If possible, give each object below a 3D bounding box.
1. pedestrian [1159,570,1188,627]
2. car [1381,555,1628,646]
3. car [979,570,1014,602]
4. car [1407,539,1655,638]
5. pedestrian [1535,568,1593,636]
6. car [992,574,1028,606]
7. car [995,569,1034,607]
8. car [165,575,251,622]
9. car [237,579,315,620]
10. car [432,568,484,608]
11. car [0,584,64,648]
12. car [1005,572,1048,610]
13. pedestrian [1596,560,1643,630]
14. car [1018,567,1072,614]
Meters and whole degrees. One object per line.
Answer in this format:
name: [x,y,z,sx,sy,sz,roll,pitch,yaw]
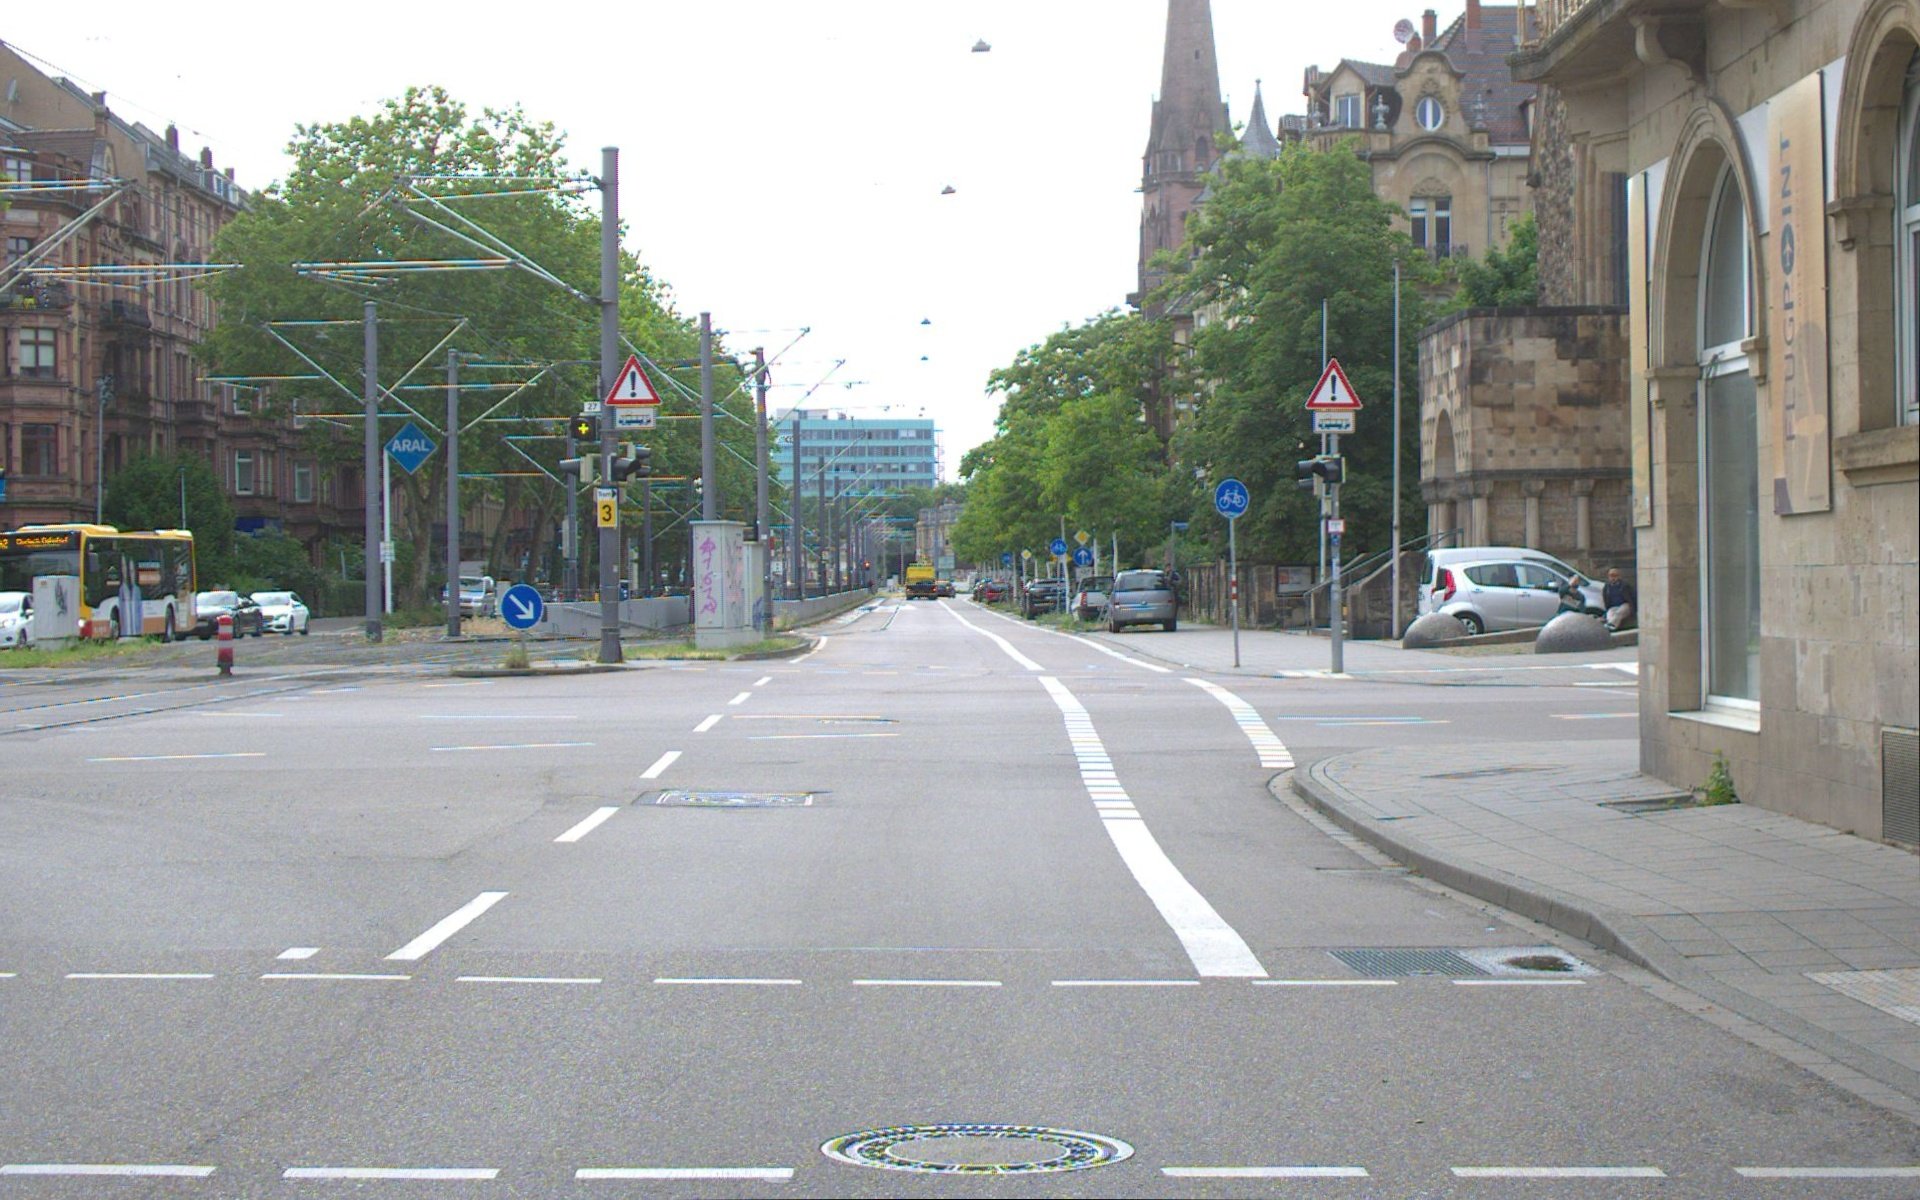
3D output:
pedestrian: [6.185,-0.045,99.627,0.776,1.641,0.798,1,0,6]
car: [10.221,-0.003,64.757,4.348,1.630,1.663,1,0,-1]
car: [2.314,-0.906,218.194,1.993,2.007,4.000,1,1,-2]
car: [11.295,-0.228,68.171,4.610,1.875,1.663,1,0,-1]
pedestrian: [10.684,0.029,60.876,0.736,1.187,1.493,1,0,0]
car: [3.050,-0.617,210.490,1.993,1.919,4.000,1,1,-2]
car: [3.005,-0.679,190.789,1.993,2.007,4.000,1,1,-2]
car: [-22.363,-0.065,102.357,1.702,1.354,3.890,1,1,0]
car: [-21.778,-0.027,109.517,1.702,1.217,3.890,1,1,0]
car: [-21.769,-0.520,149.192,1.702,1.706,3.890,1,1,0]
car: [-22.039,0.345,79.315,1.702,1.393,3.890,1,1,0]
car: [3.327,-0.450,172.328,1.993,1.875,4.000,0,1,-1]
pedestrian: [11.759,-0.092,61.278,0.737,1.224,1.062,1,0,14]
car: [3.338,-0.383,136.096,1.993,1.814,4.000,0,1,-1]
